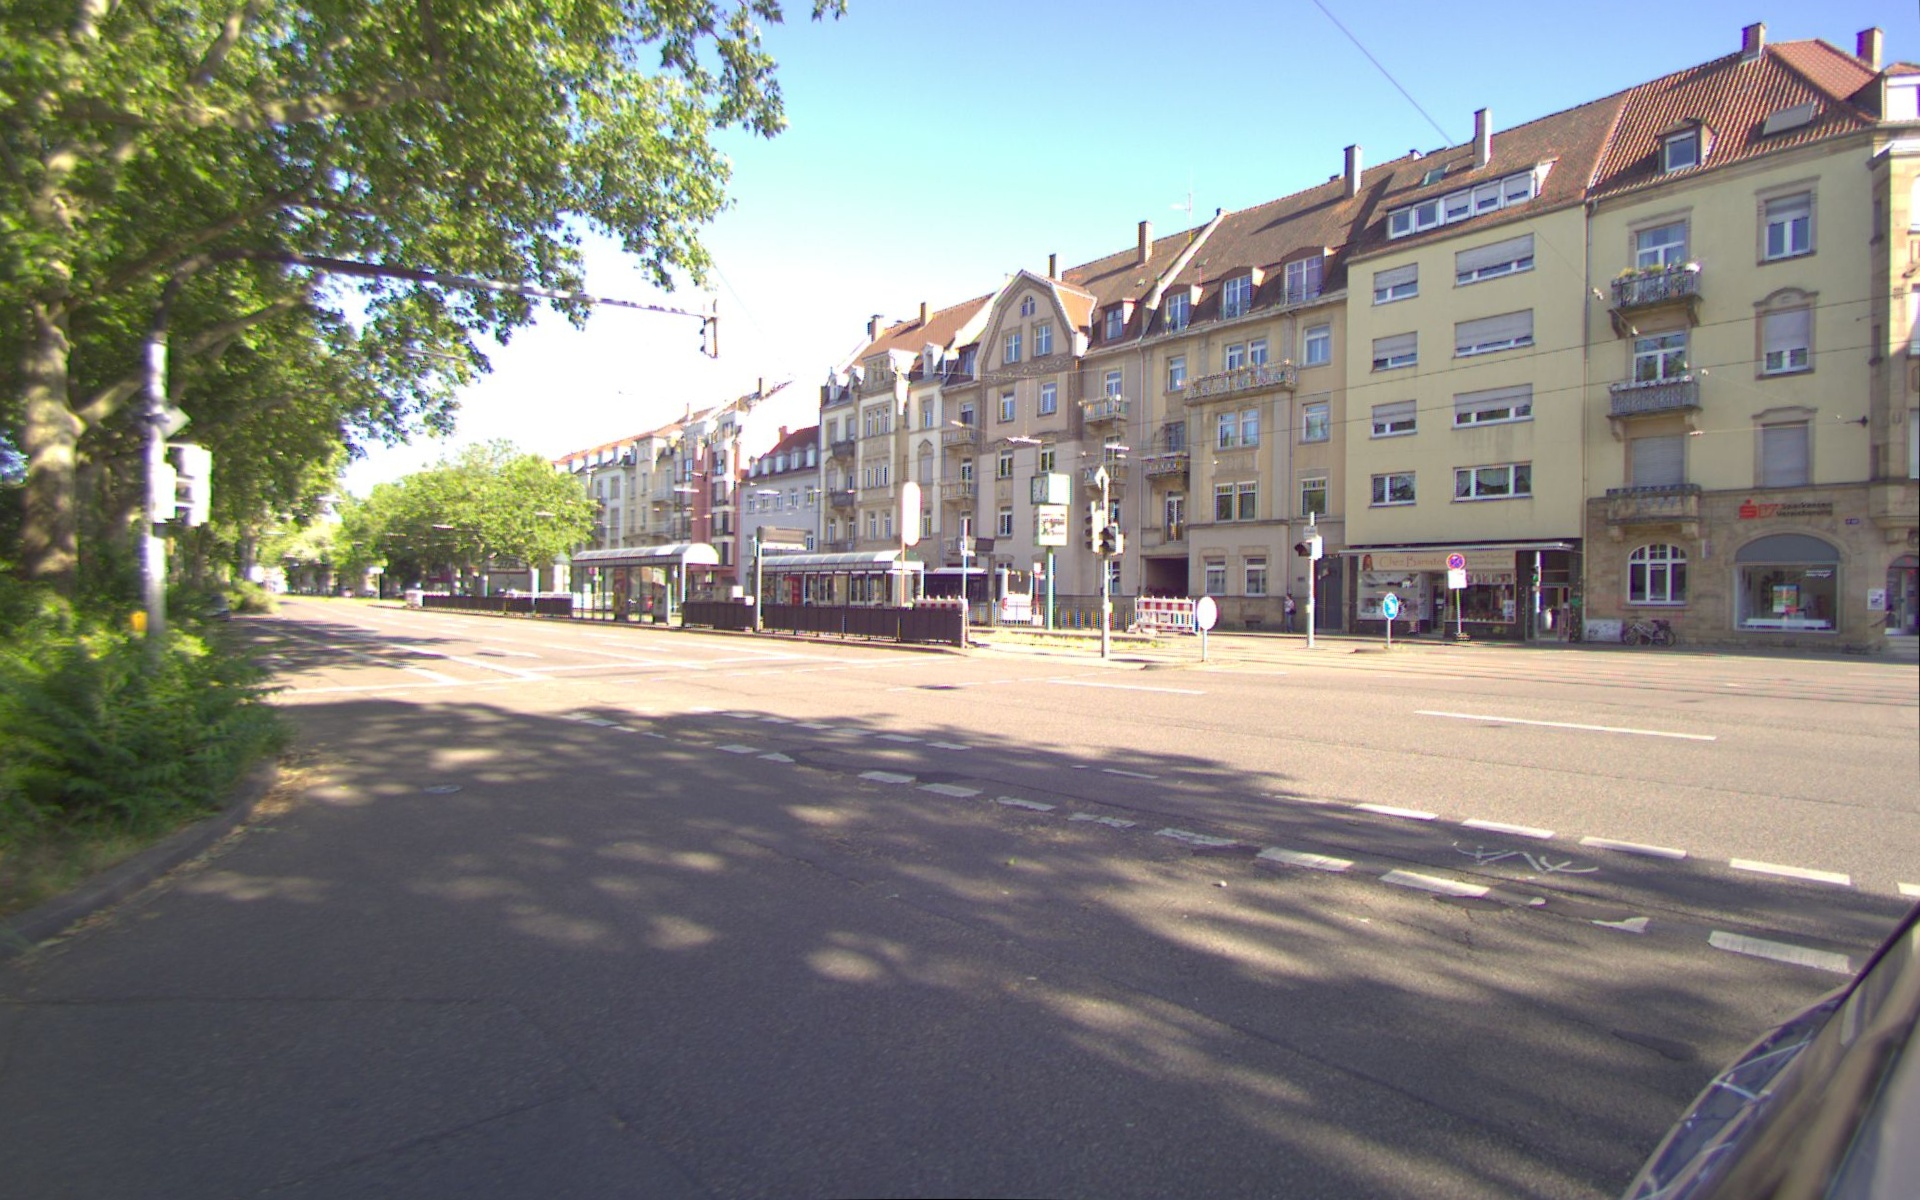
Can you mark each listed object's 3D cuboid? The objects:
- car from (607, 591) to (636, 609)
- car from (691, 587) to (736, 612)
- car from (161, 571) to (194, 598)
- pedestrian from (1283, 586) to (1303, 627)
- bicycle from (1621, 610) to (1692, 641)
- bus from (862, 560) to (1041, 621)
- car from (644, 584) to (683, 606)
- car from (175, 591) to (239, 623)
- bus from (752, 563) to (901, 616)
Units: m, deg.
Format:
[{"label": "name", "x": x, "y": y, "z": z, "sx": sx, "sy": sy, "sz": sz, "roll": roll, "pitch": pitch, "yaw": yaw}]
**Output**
[{"label": "car", "x": -32.535, "y": 0.016, "z": 97.249, "sx": 1.533, "sy": 1.627, "sz": 3.572, "roll": 2, "pitch": -1, "yaw": -39}, {"label": "car", "x": -20.212, "y": -0.041, "z": 82.911, "sx": 1.995, "sy": 1.918, "sz": 3.993, "roll": 2, "pitch": -1, "yaw": -41}, {"label": "car", "x": -64.200, "y": -1.264, "z": 83.035, "sx": 1.964, "sy": 2.040, "sz": 3.994, "roll": 2, "pitch": -3, "yaw": -40}, {"label": "pedestrian", "x": 15.004, "y": 0.310, "z": 45.637, "sx": 0.695, "sy": 1.826, "sz": 0.521, "roll": 1, "pitch": -1, "yaw": -36}, {"label": "bicycle", "x": 24.113, "y": 0.886, "z": 35.058, "sx": 0.507, "sy": 0.987, "sz": 1.951, "roll": -2, "pitch": 2, "yaw": -39}, {"label": "bus", "x": -0.678, "y": -0.525, "z": 56.345, "sx": 10.642, "sy": 3.072, "sz": 3.085, "roll": 1, "pitch": -1, "yaw": 42}, {"label": "car", "x": -26.399, "y": -0.451, "z": 89.934, "sx": 1.769, "sy": 1.812, "sz": 3.993, "roll": 2, "pitch": -1, "yaw": -41}, {"label": "car", "x": -35.463, "y": 0.362, "z": 47.770, "sx": 1.792, "sy": 1.427, "sz": 3.891, "roll": 1, "pitch": -2, "yaw": -28}, {"label": "bus", "x": -8.595, "y": -0.675, "z": 63.587, "sx": 10.825, "sy": 3.055, "sz": 3.047, "roll": 1, "pitch": -1, "yaw": 43}]
